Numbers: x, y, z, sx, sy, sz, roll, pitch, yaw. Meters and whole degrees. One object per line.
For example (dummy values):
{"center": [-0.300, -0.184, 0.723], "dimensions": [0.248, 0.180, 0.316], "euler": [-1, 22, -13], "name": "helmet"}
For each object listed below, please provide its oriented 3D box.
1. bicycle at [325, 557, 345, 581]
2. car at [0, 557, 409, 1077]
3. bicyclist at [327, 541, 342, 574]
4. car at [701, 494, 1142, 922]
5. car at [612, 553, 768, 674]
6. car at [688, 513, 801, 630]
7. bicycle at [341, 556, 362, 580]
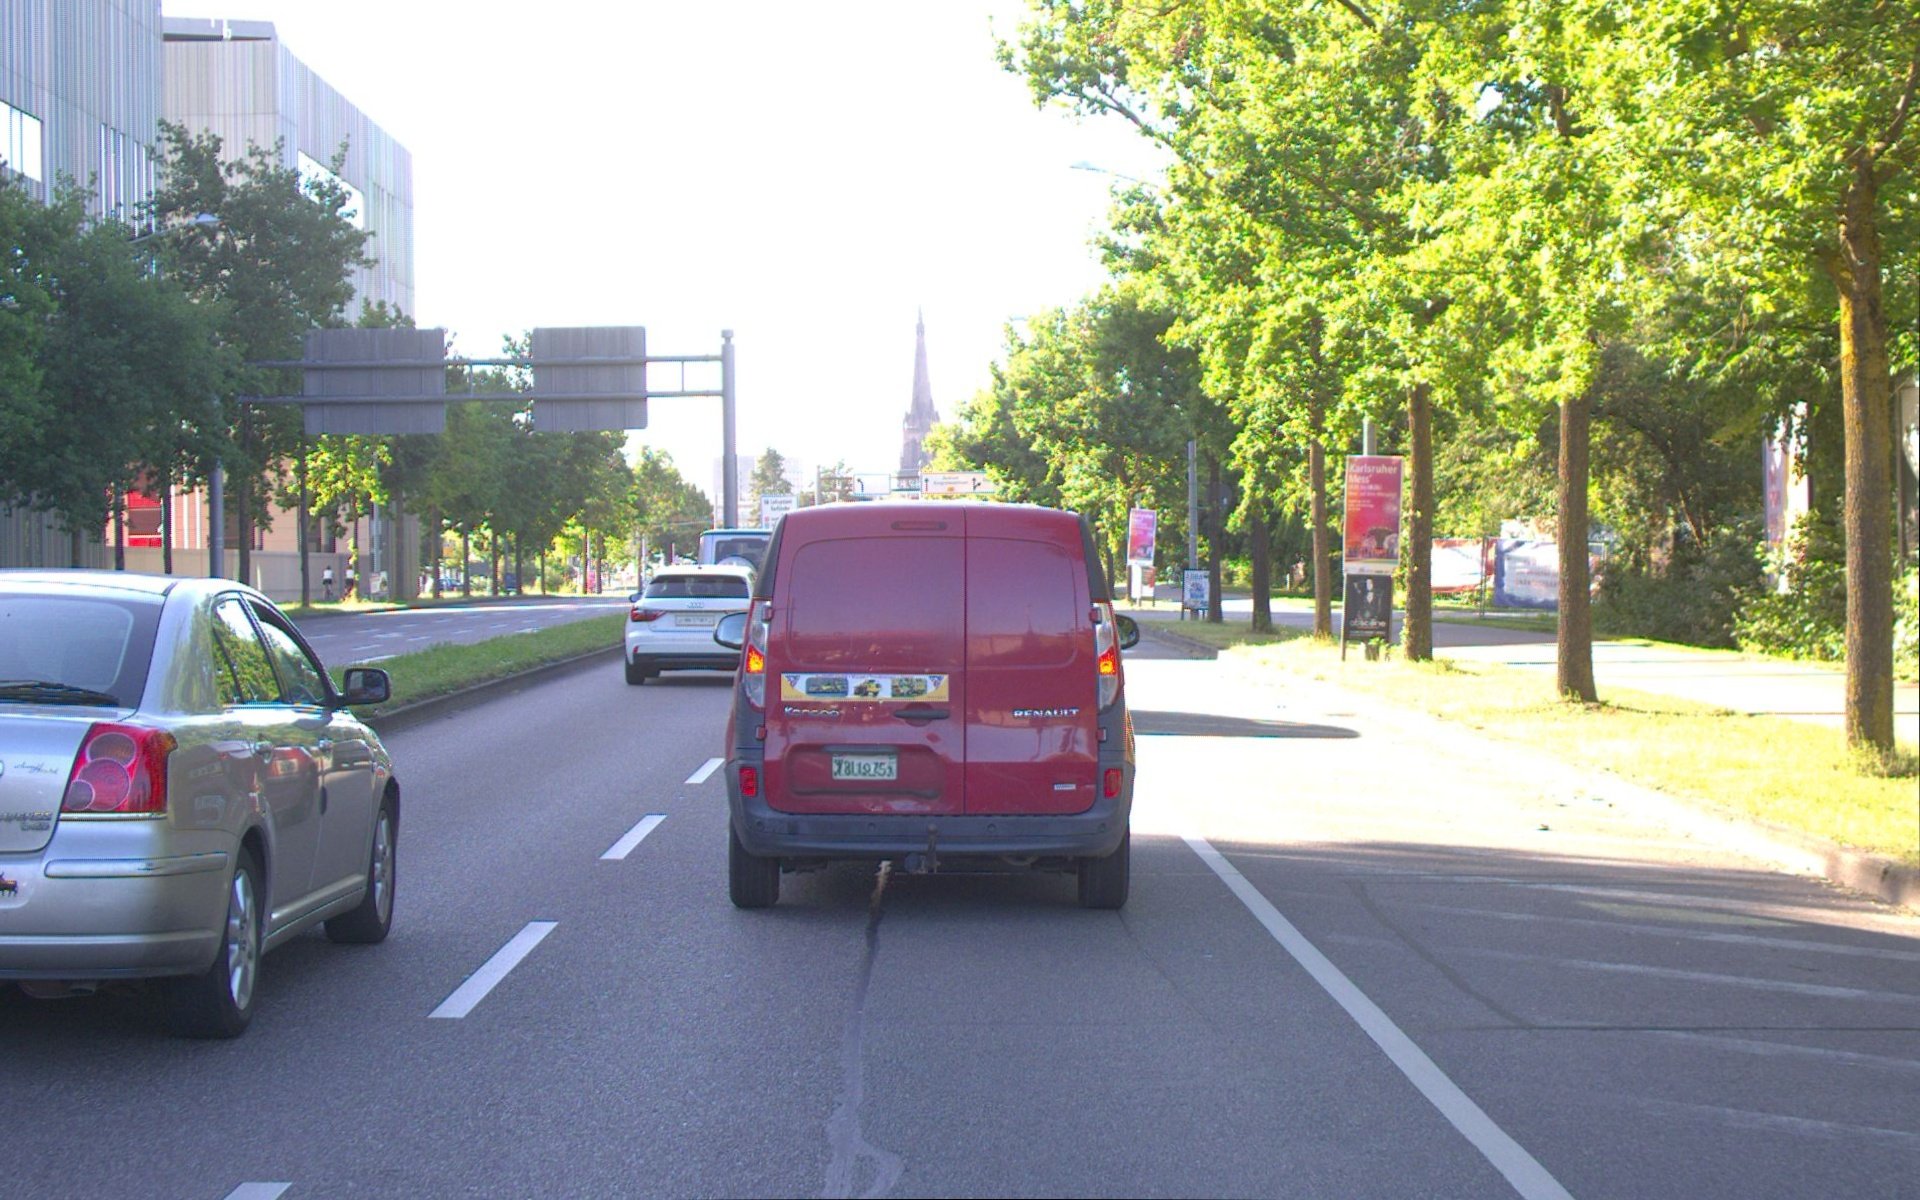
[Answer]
{"center": [-26.676, -1.329, 146.733], "dimensions": [0.487, 1.000, 2.096], "euler": [-1, 0, -2], "name": "bicycle"}
{"center": [-3.135, 0.583, 11.747], "dimensions": [1.841, 1.451, 4.162], "euler": [1, 1, 0], "name": "car"}
{"center": [-26.682, -1.807, 146.689], "dimensions": [0.482, 1.390, 0.844], "euler": [-1, 0, -2], "name": "bicyclist"}
{"center": [-0.188, 0.427, 16.231], "dimensions": [1.806, 1.753, 4.006], "euler": [1, 1, -1], "name": "car"}
{"center": [-3.251, 0.136, 41.870], "dimensions": [1.661, 1.393, 3.559], "euler": [0, 1, -1], "name": "car"}
{"center": [-3.520, -0.471, 56.630], "dimensions": [1.661, 1.850, 3.559], "euler": [0, 1, -1], "name": "car"}
{"center": [-25.853, -1.342, 145.985], "dimensions": [0.570, 1.000, 2.096], "euler": [-1, 0, -2], "name": "bicycle"}
